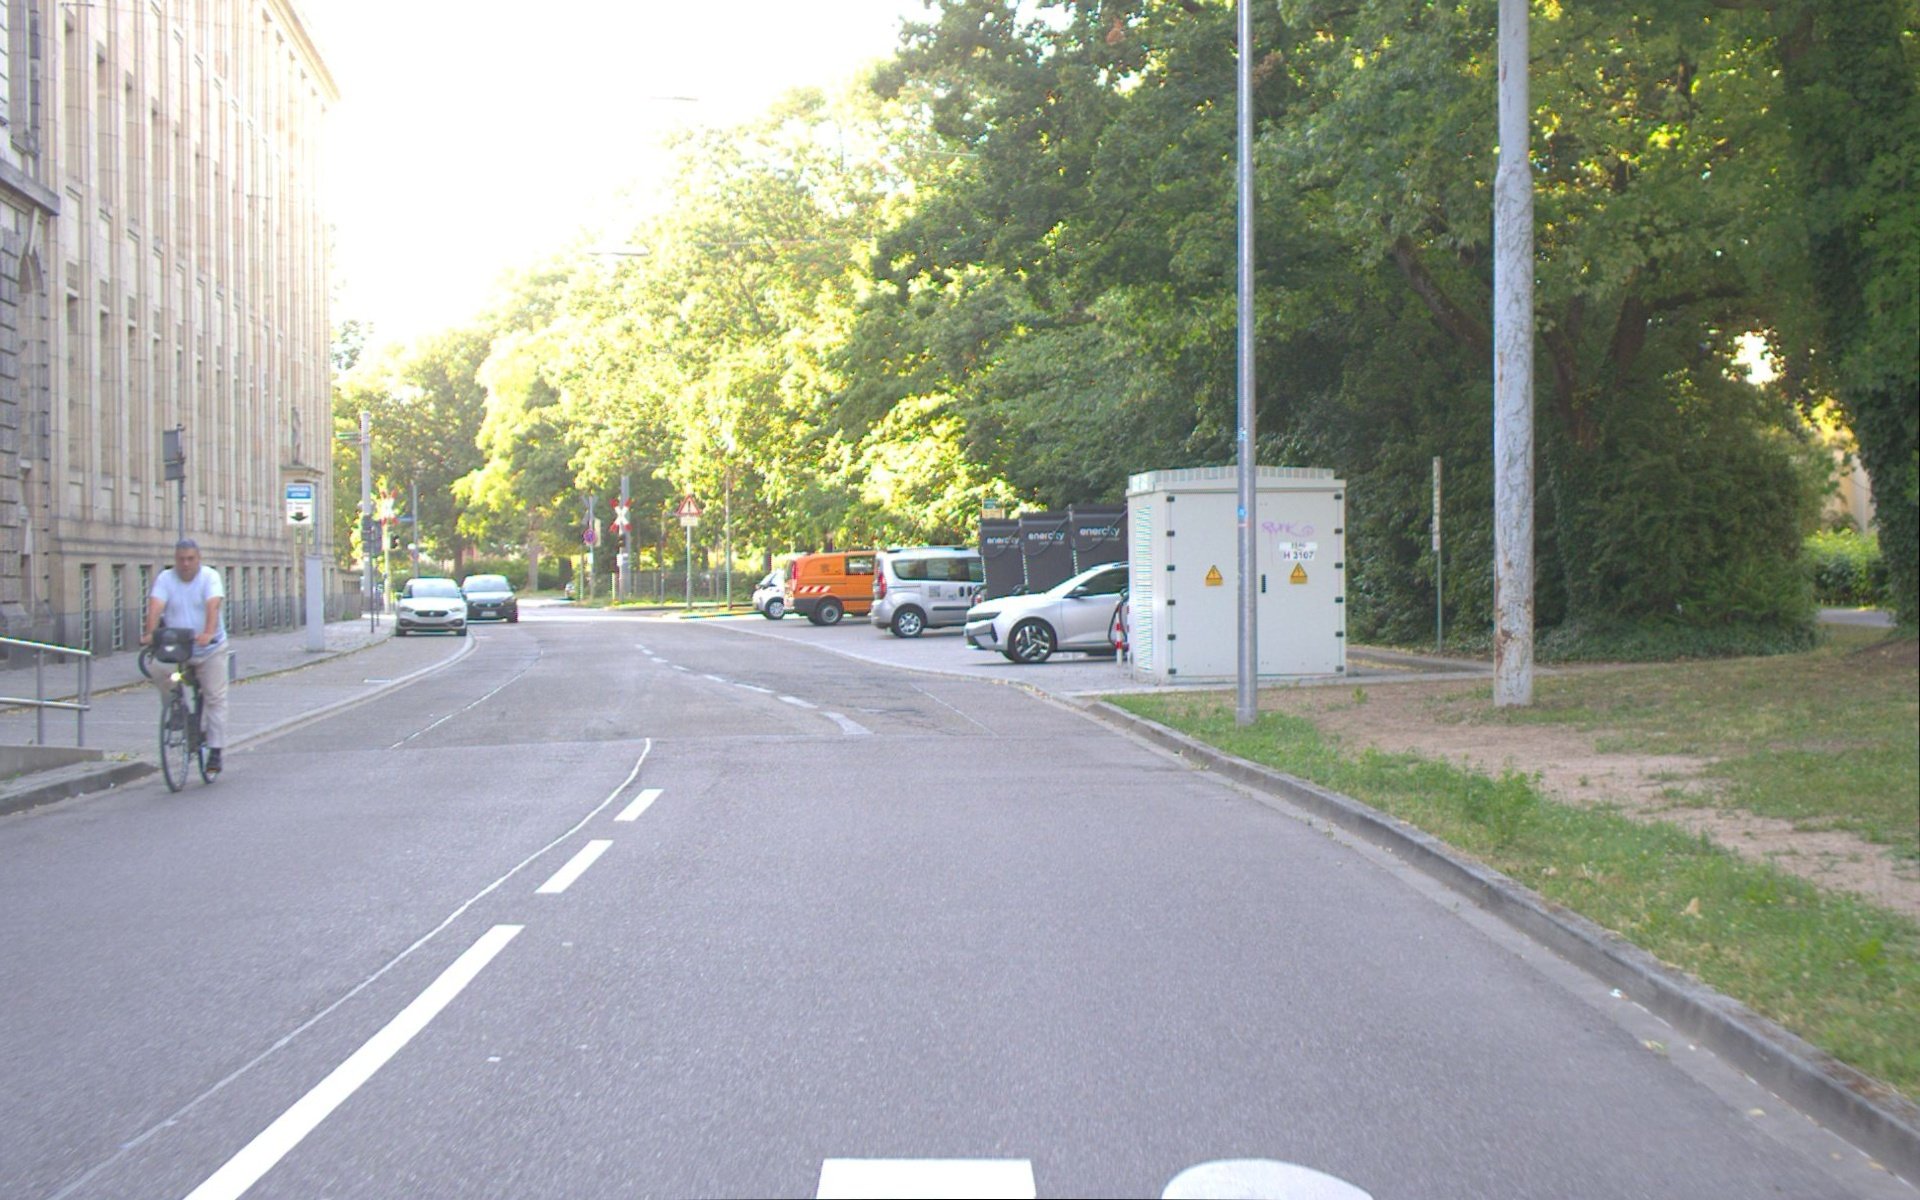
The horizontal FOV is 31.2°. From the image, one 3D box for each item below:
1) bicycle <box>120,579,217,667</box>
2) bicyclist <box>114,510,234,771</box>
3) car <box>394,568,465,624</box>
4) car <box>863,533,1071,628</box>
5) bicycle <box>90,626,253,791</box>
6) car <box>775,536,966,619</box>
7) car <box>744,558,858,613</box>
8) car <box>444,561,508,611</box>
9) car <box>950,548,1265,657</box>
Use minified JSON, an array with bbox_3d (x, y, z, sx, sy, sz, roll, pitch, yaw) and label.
[{"bbox_3d":[-10.325,0.287,44.921,0.852,1.098,1.982,1,0,-2],"label":"bicycle"},{"bbox_3d":[-5.538,0.276,24.247,0.645,1.801,0.780,-1,1,-1],"label":"bicyclist"},{"bbox_3d":[-13.613,-0.126,88.179,1.727,1.392,4.374,0,1,-9],"label":"car"},{"bbox_3d":[0.134,-0.421,73.495,4.228,1.853,2.000,-2,0,-5],"label":"car"},{"bbox_3d":[-5.545,0.740,24.281,0.662,1.066,2.153,-1,1,-1],"label":"bicycle"},{"bbox_3d":[-2.423,-0.608,92.693,4.817,2.007,1.802,-3,1,-12],"label":"car"},{"bbox_3d":[-4.775,-0.431,102.892,3.143,1.498,1.541,-3,1,-12],"label":"car"},{"bbox_3d":[-14.873,-0.453,105.489,1.878,1.461,4.374,-1,1,-9],"label":"car"},{"bbox_3d":[2.174,0.021,51.435,4.440,1.464,1.783,-2,1,-7],"label":"car"}]
